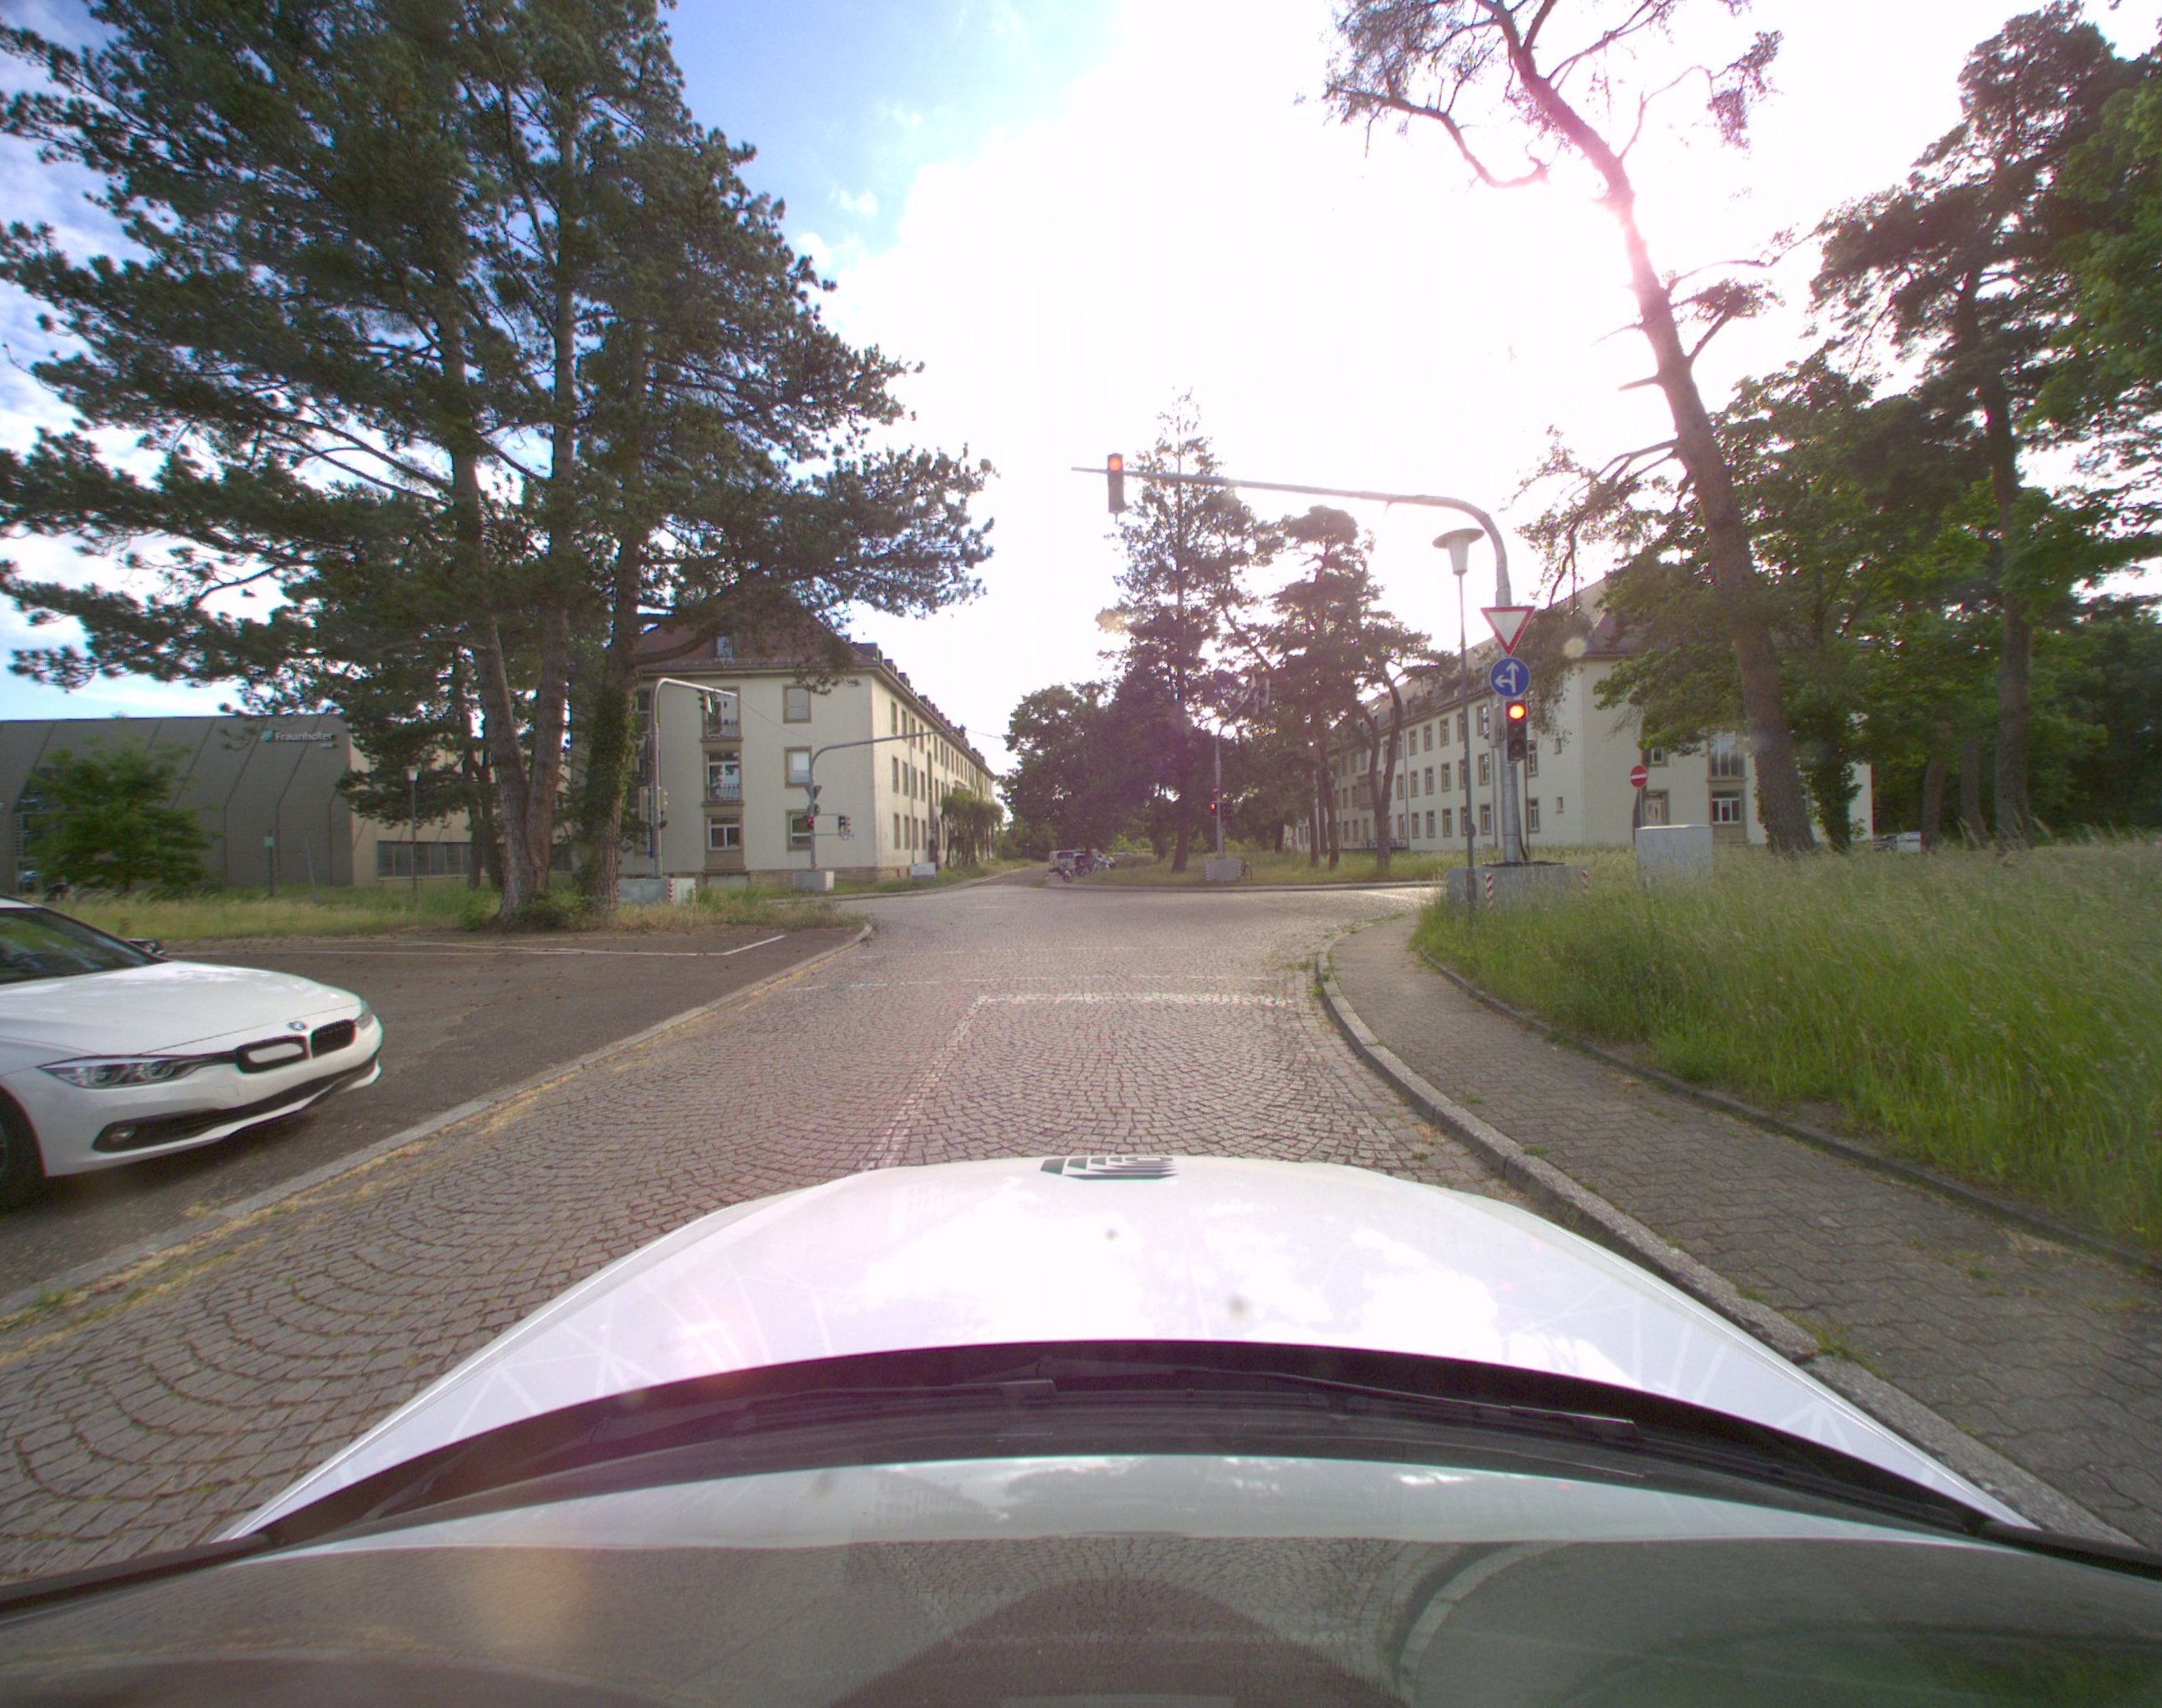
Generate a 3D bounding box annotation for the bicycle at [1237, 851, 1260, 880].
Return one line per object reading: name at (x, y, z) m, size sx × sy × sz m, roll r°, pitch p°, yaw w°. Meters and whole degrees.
bicycle at (7.151, 0.482, 34.906) m, size 0.720 × 1.169 × 2.741 m, roll 0°, pitch 0°, yaw 6°

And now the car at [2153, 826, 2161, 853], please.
car at (56.860, -0.715, 40.954) m, size 3.975 × 1.398 × 1.563 m, roll 1°, pitch 0°, yaw -1°

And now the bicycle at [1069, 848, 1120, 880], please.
bicycle at (0.757, 0.570, 46.595) m, size 2.772 × 1.694 × 1.118 m, roll -2°, pitch 0°, yaw -6°

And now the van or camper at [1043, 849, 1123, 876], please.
van or camper at (0.126, 0.635, 64.551) m, size 6.041 × 1.949 × 1.990 m, roll -2°, pitch 0°, yaw -15°

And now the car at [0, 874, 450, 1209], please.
car at (-6.525, 0.864, 4.505) m, size 4.469 × 1.442 × 1.827 m, roll 1°, pitch 0°, yaw -4°

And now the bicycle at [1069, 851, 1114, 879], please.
bicycle at (0.655, 0.705, 51.351) m, size 2.764 × 1.694 × 1.121 m, roll 1°, pitch -1°, yaw 3°

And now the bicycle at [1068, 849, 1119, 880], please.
bicycle at (0.726, 0.600, 47.788) m, size 2.774 × 1.694 × 1.117 m, roll -2°, pitch 0°, yaw -8°

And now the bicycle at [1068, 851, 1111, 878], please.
bicycle at (0.564, 0.695, 52.687) m, size 2.766 × 1.694 × 1.120 m, roll 1°, pitch -1°, yaw 0°

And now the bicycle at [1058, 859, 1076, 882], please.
bicycle at (-0.709, 0.837, 42.289) m, size 0.723 × 1.107 × 2.462 m, roll -6°, pitch 0°, yaw 1°

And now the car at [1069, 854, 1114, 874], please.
car at (0.775, 0.730, 60.985) m, size 3.134 × 1.354 × 1.616 m, roll -2°, pitch 0°, yaw -7°
